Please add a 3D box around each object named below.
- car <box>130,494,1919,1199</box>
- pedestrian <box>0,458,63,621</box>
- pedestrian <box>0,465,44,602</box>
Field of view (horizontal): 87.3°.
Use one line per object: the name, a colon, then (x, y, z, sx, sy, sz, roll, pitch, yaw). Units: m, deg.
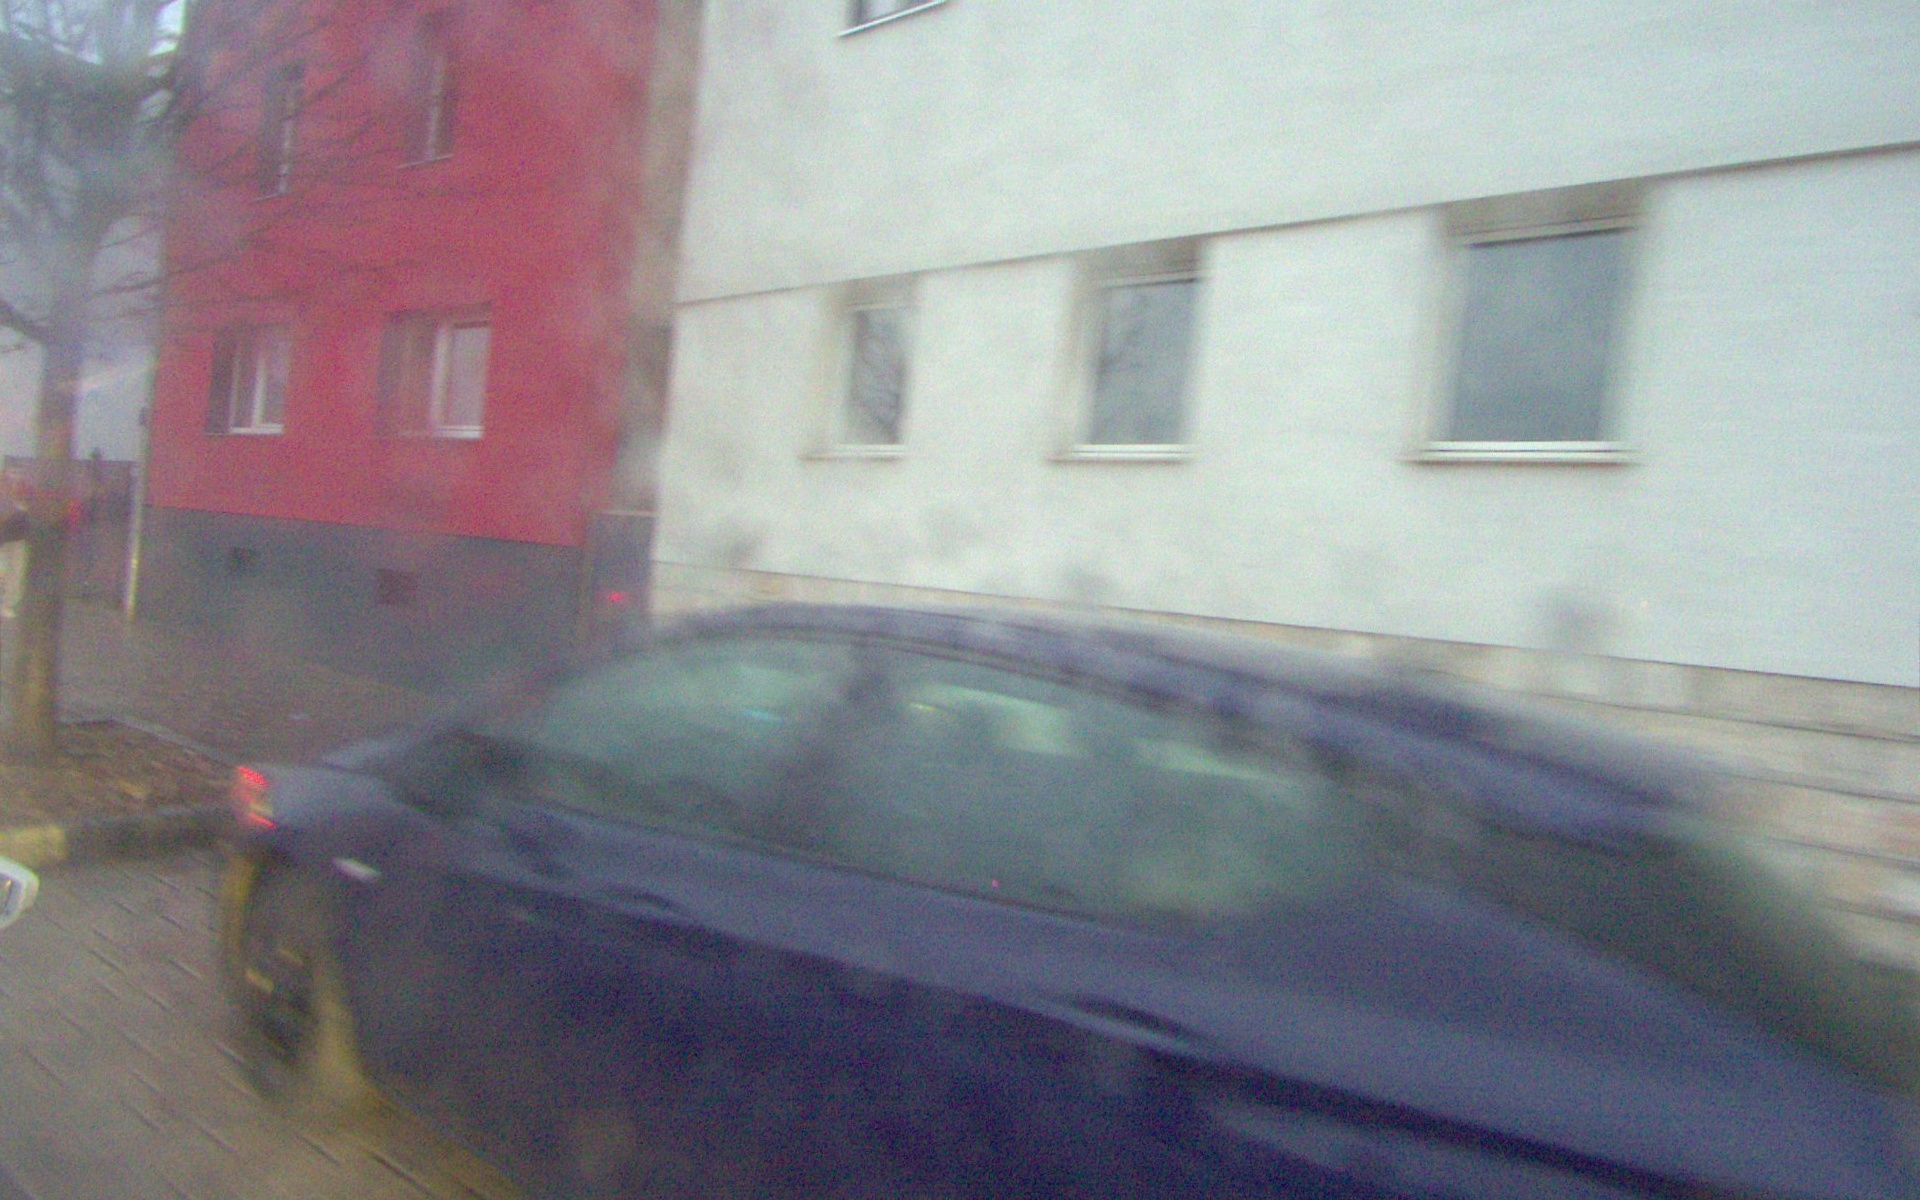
car: (-0.288, 0.661, 2.609, 4.131, 1.484, 1.728, 7, 3, 34)
pedestrian: (-10.384, -0.653, 11.056, 0.941, 1.671, 0.528, 4, -3, 41)
pedestrian: (-12.528, -0.882, 13.019, 1.036, 1.700, 0.746, 6, 1, 38)
